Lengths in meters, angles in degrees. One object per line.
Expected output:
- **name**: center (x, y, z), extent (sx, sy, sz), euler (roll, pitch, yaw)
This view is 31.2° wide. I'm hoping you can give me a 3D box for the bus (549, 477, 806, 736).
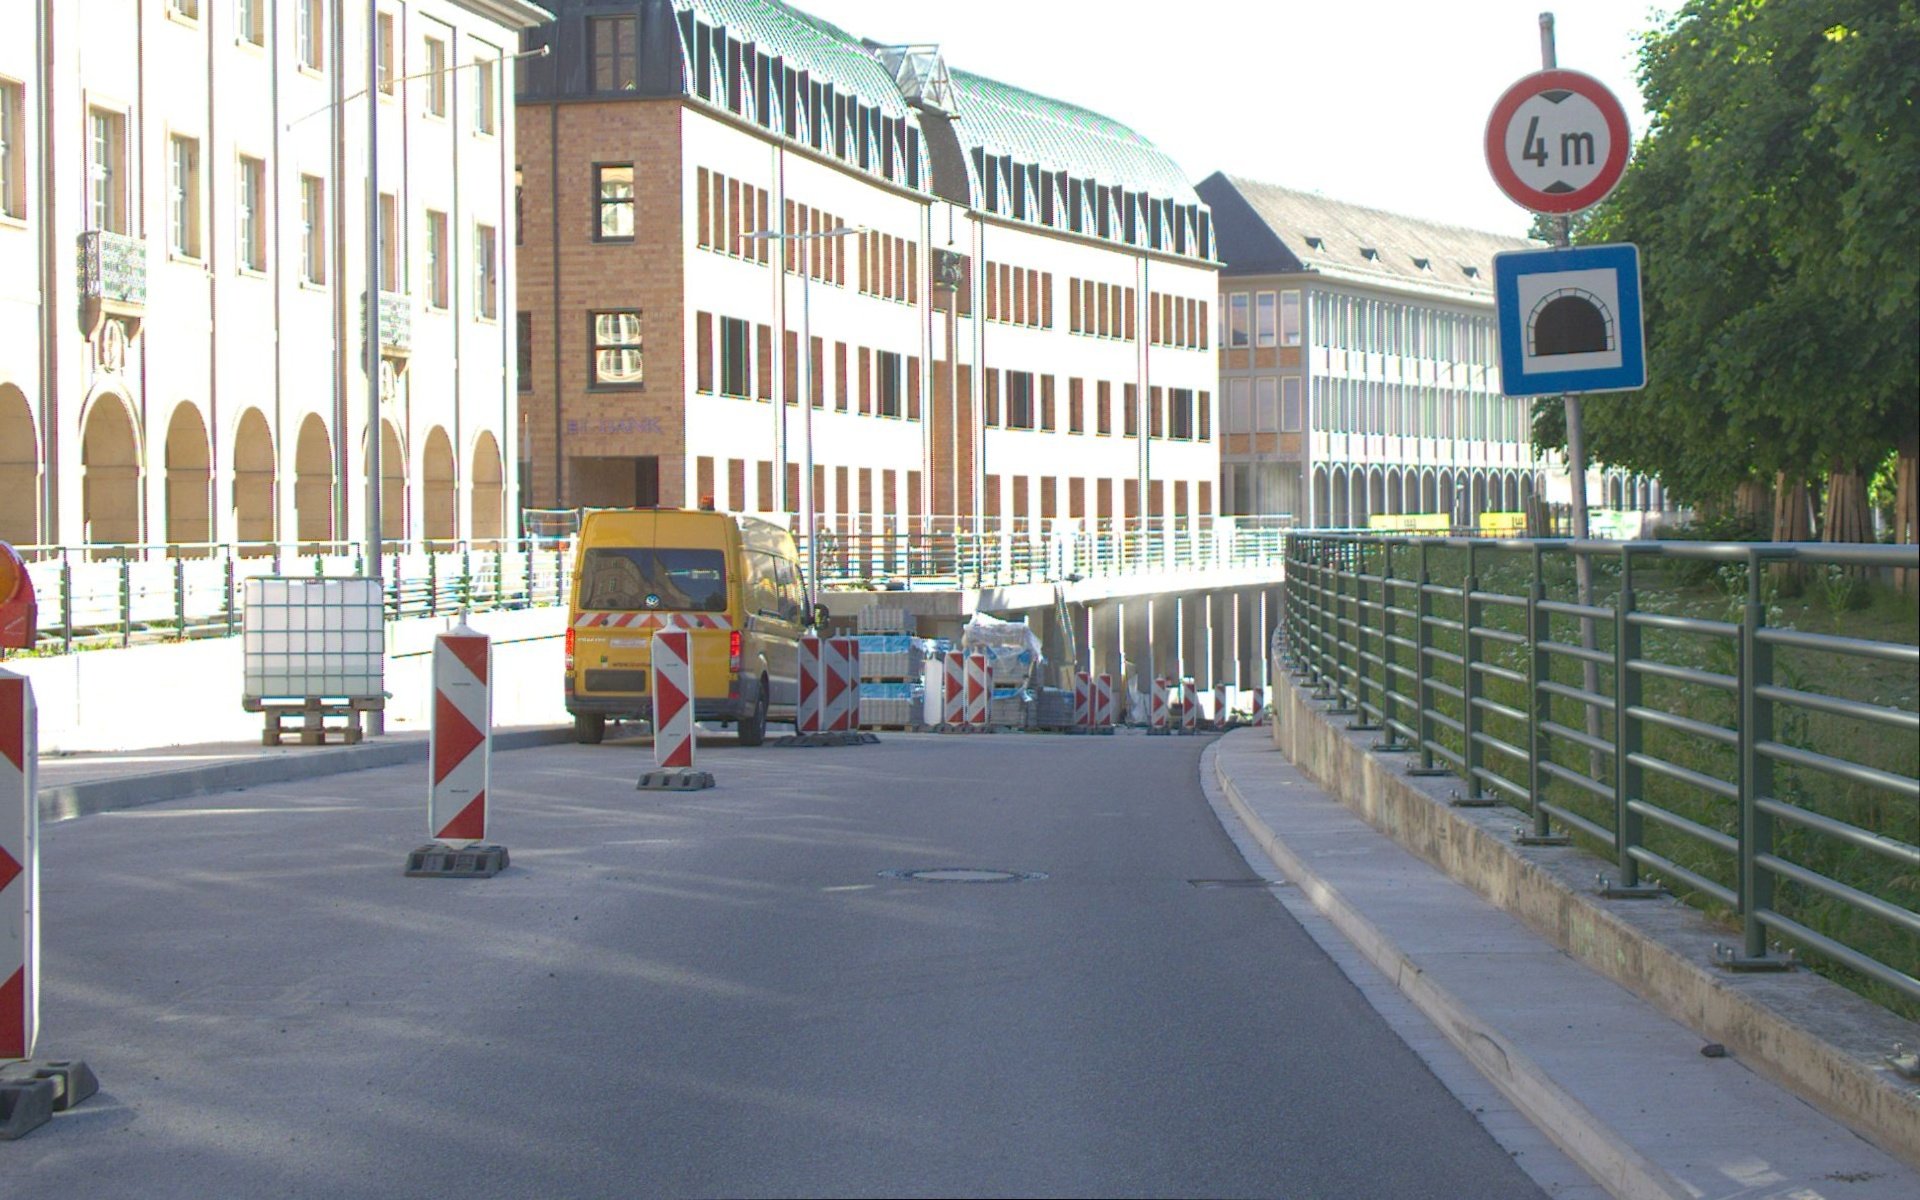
- **bus**: center (-3.042, 0.106, 38.013), extent (2.073, 2.677, 4.682), euler (0, -1, 5)
